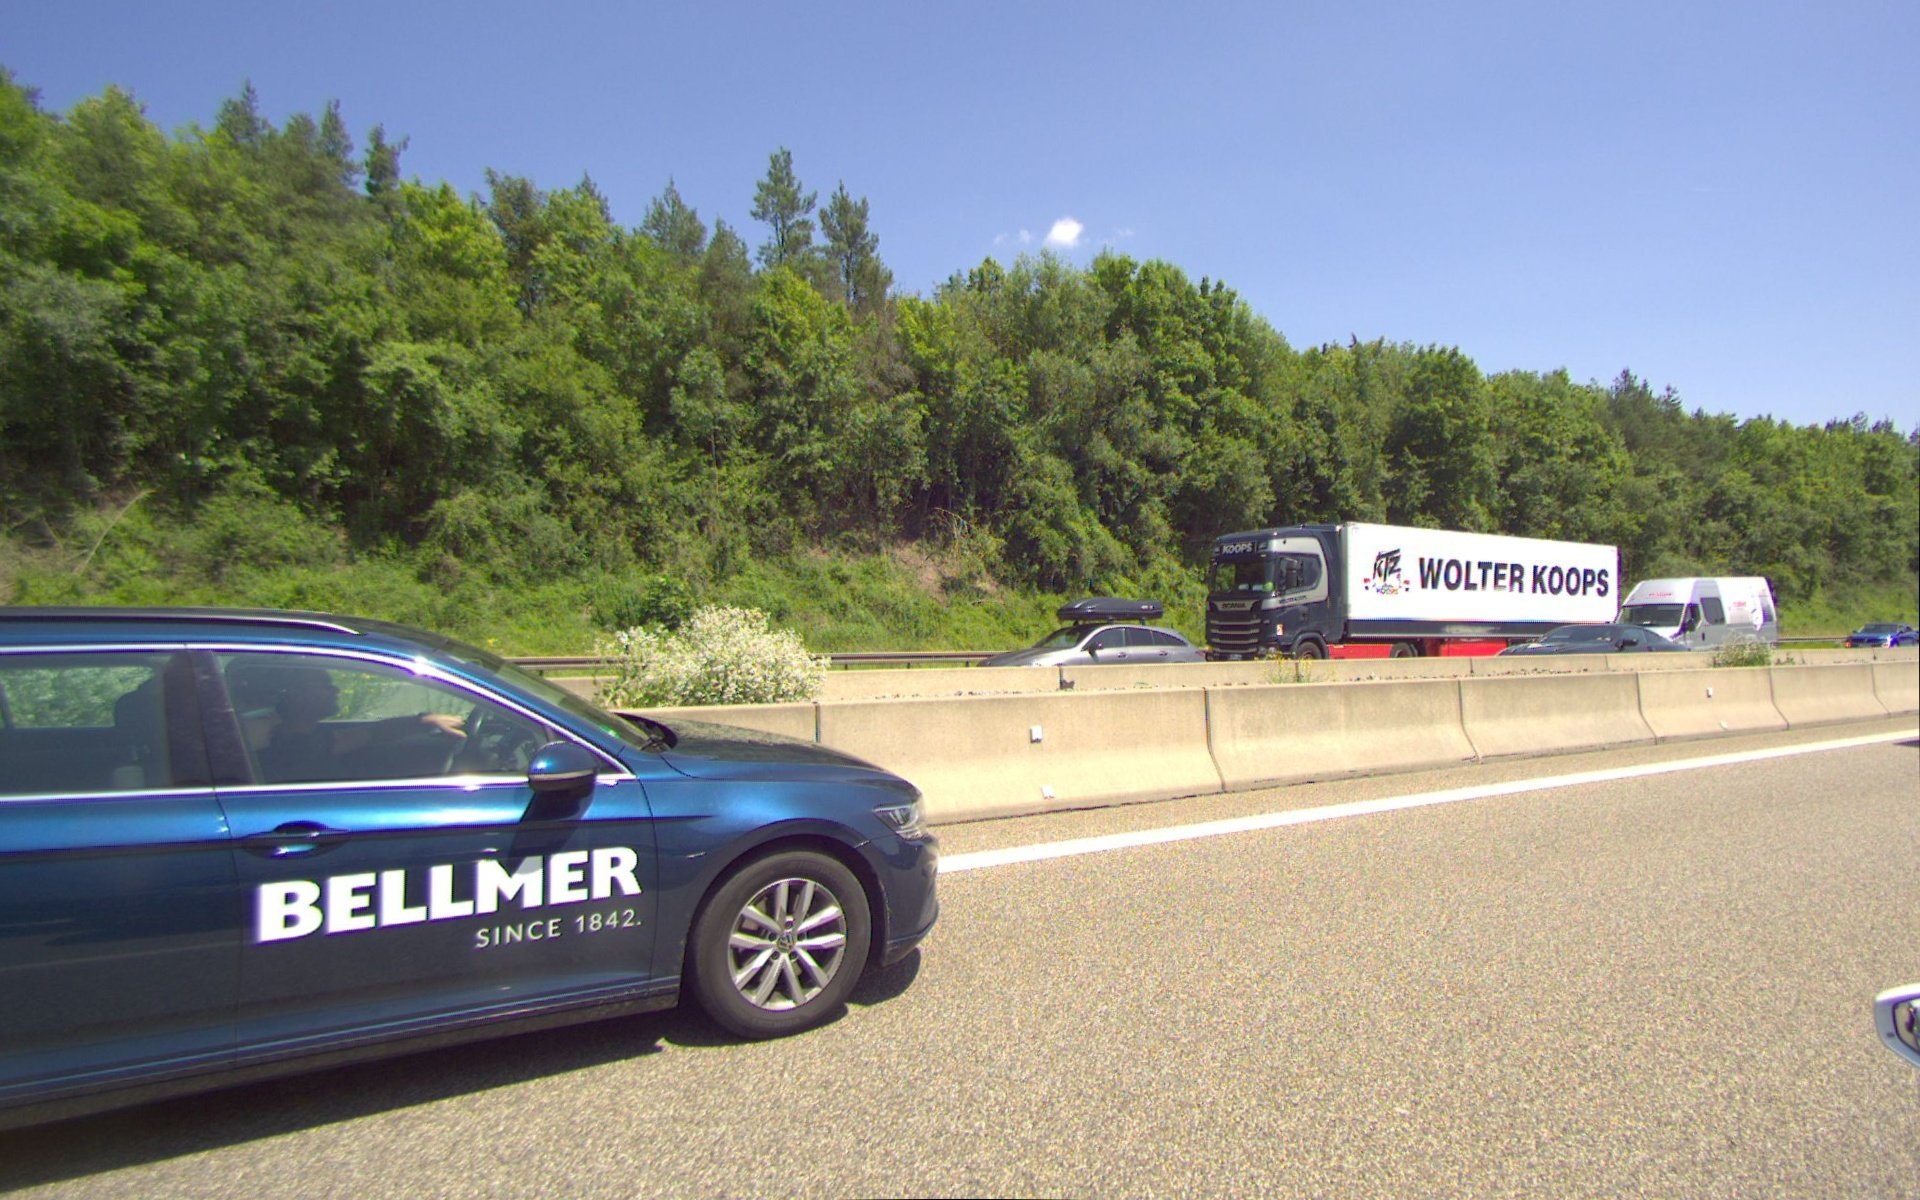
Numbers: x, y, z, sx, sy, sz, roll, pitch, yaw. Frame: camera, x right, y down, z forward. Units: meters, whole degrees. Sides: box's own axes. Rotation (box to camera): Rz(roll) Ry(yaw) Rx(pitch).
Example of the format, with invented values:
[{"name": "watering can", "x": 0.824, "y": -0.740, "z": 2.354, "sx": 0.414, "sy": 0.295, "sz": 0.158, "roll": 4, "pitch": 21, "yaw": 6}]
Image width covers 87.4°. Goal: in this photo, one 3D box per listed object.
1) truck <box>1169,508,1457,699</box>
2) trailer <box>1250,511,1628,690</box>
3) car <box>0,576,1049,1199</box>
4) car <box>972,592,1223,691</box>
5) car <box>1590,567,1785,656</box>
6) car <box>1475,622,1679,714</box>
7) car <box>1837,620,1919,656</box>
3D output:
[{"name": "truck", "x": 9.697, "y": 0.282, "z": 27.541, "sx": 7.243, "sy": 4.586, "sz": 3.707, "roll": 2, "pitch": -4, "yaw": -31}, {"name": "trailer", "x": 14.958, "y": 0.305, "z": 30.723, "sx": 13.176, "sy": 4.586, "sz": 3.707, "roll": 2, "pitch": -4, "yaw": -31}, {"name": "car", "x": -2.100, "y": 0.718, "z": 3.408, "sx": 4.674, "sy": 1.446, "sz": 1.725, "roll": 1, "pitch": -3, "yaw": -30}, {"name": "car", "x": 2.548, "y": 0.789, "z": 18.241, "sx": 4.462, "sy": 1.628, "sz": 1.679, "roll": 2, "pitch": -4, "yaw": -31}, {"name": "car", "x": 21.641, "y": 0.380, "z": 29.740, "sx": 7.279, "sy": 2.408, "sz": 1.984, "roll": 1, "pitch": -1, "yaw": -31}, {"name": "car", "x": 12.074, "y": 1.316, "z": 19.610, "sx": 4.078, "sy": 1.628, "sz": 1.679, "roll": 2, "pitch": -4, "yaw": -31}, {"name": "car", "x": 43.522, "y": 1.771, "z": 47.544, "sx": 3.953, "sy": 1.614, "sz": 1.871, "roll": 1, "pitch": -1, "yaw": -31}]
